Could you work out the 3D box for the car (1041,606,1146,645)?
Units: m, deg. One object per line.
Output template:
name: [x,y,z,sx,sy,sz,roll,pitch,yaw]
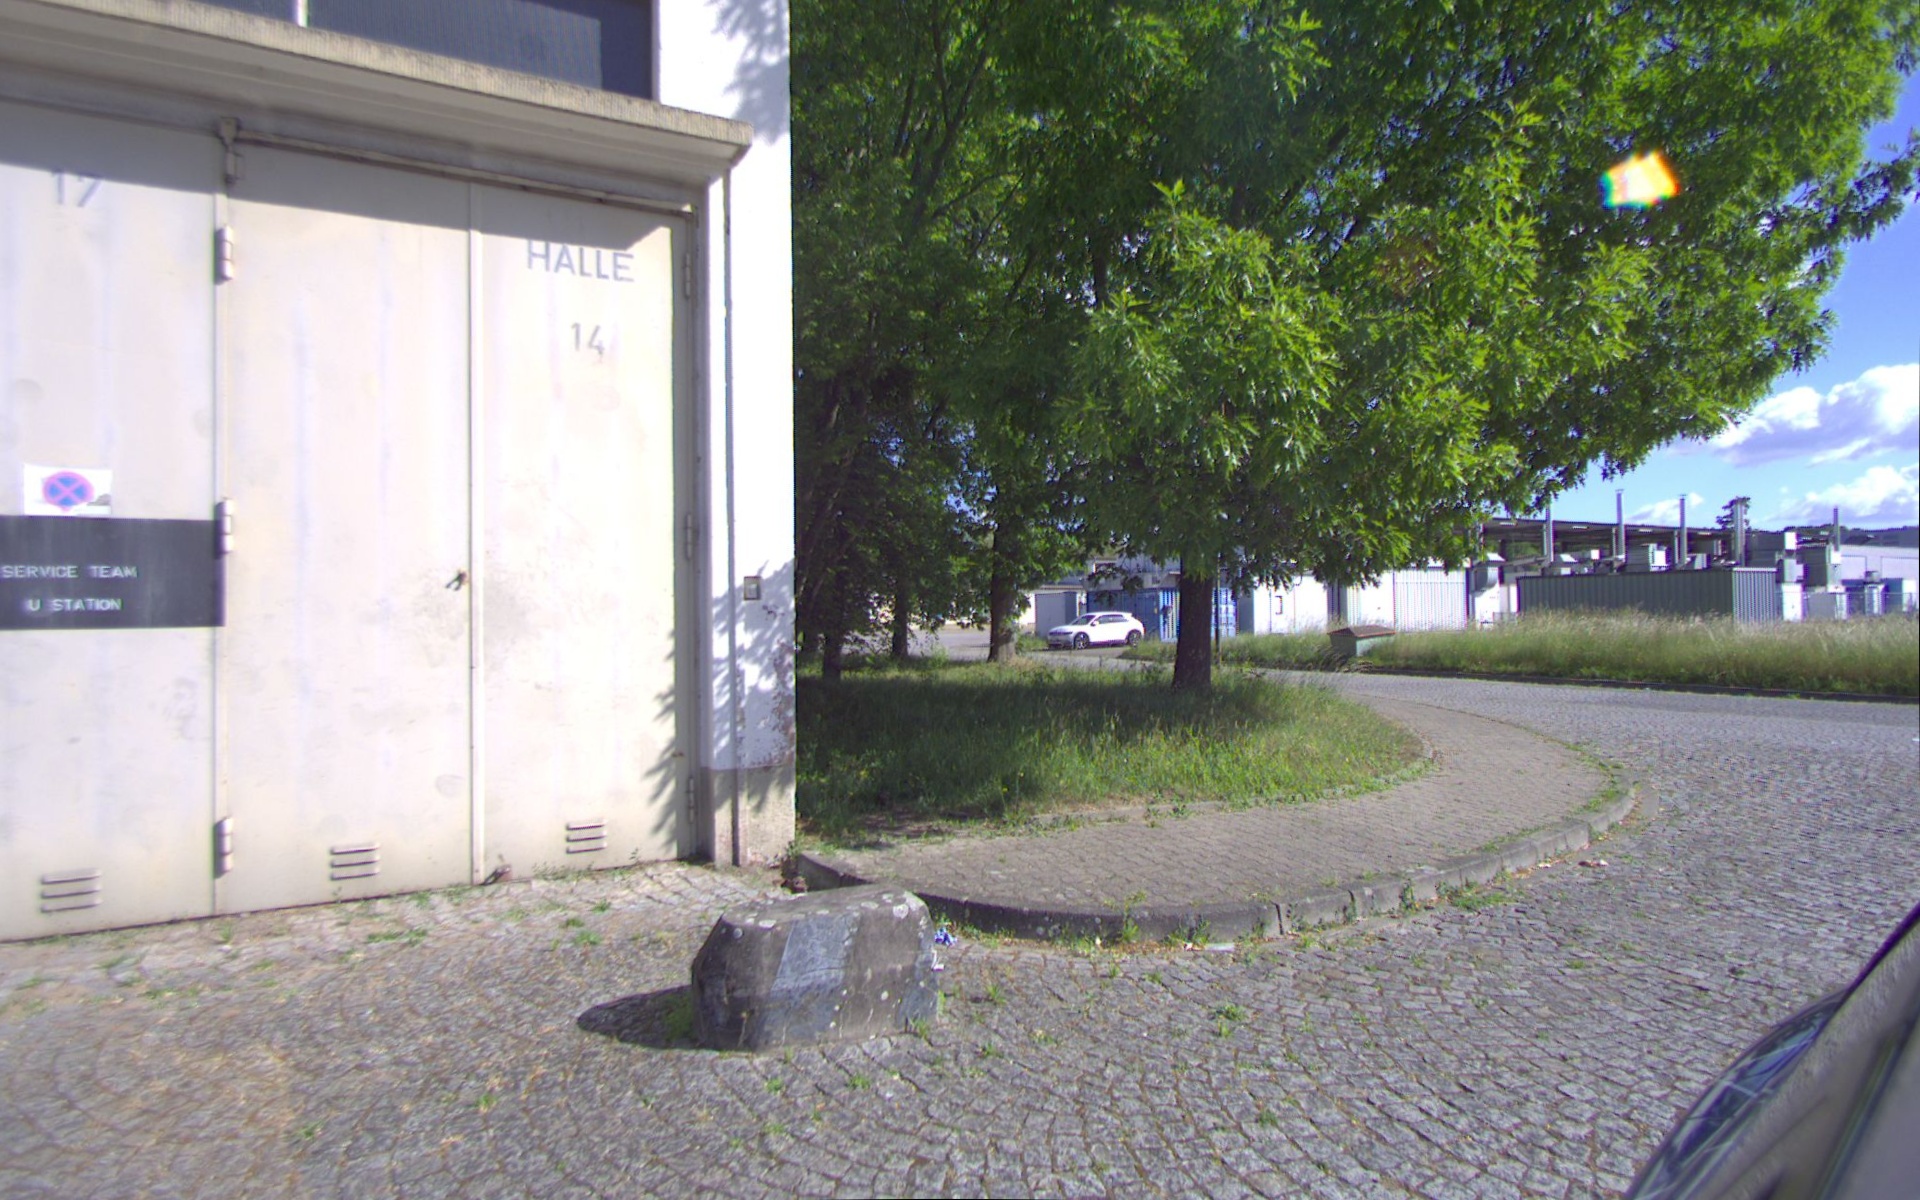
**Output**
car: [6.020,1.132,45.487,4.429,1.613,1.826,-1,-2,-28]
